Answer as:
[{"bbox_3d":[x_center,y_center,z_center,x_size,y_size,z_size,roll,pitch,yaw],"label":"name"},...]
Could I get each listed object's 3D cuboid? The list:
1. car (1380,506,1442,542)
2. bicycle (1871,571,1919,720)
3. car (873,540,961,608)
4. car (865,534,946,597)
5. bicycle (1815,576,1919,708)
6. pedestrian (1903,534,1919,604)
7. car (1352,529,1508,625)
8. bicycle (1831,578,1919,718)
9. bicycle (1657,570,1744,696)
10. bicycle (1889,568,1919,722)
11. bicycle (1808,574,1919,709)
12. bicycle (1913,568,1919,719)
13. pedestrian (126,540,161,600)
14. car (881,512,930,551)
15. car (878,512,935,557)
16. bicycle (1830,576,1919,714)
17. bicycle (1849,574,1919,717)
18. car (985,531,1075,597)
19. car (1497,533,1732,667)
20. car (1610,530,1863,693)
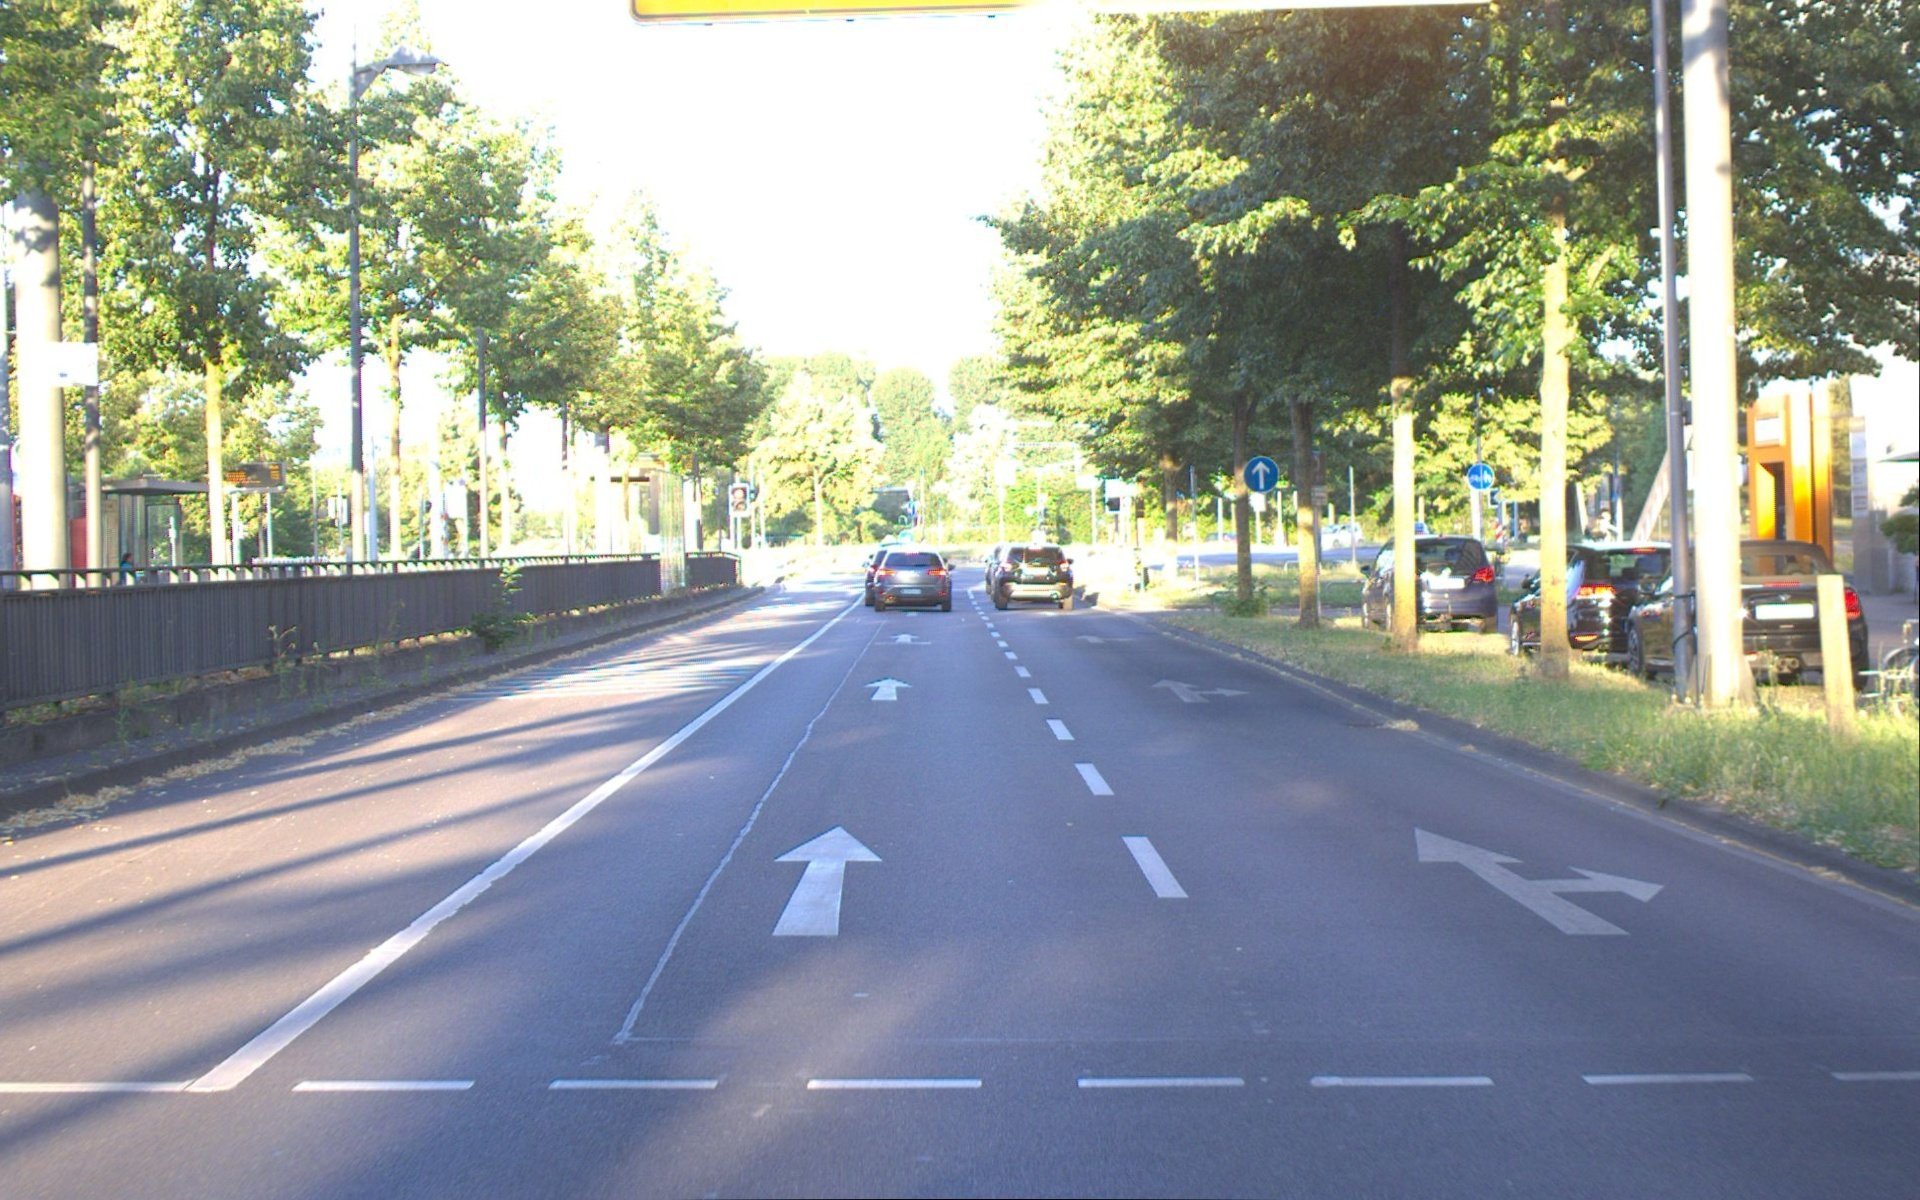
[{"bbox_3d":[22.283,-3.753,169.747,1.996,1.722,3.995,-1,1,24],"label":"car"},{"bbox_3d":[7.206,0.338,22.926,2.142,0.970,0.443,2,1,-8],"label":"bicycle"},{"bbox_3d":[-0.989,-0.613,78.162,1.911,1.481,4.000,-1,1,-1],"label":"car"},{"bbox_3d":[-1.354,-0.867,84.636,1.911,1.481,4.000,-1,1,-1],"label":"car"},{"bbox_3d":[7.497,0.338,25.505,2.142,0.936,0.545,2,1,-7],"label":"bicycle"},{"bbox_3d":[16.527,-0.544,58.764,0.571,1.182,0.861,-1,1,1],"label":"pedestrian"},{"bbox_3d":[7.582,-0.397,55.754,1.756,1.461,4.159,-1,1,-3],"label":"car"},{"bbox_3d":[7.187,0.361,23.887,2.142,0.936,0.452,2,1,-7],"label":"bicycle"},{"bbox_3d":[6.030,0.252,28.045,0.319,0.977,1.846,-1,1,1],"label":"bicycle"},{"bbox_3d":[7.203,0.329,22.443,2.142,0.983,0.443,2,1,-7],"label":"bicycle"},{"bbox_3d":[7.292,0.328,24.979,2.142,0.936,0.443,2,1,-7],"label":"bicycle"},{"bbox_3d":[7.220,0.278,22.036,2.142,1.050,0.300,2,1,-7],"label":"bicycle"},{"bbox_3d":[-18.101,-0.671,76.244,0.614,1.315,0.745,-1,1,-4],"label":"pedestrian"},{"bbox_3d":[-2.168,-2.718,136.103,1.911,1.481,4.000,-1,1,-1],"label":"car"},{"bbox_3d":[-1.859,-2.276,119.257,1.911,1.481,4.000,-1,1,-1],"label":"car"},{"bbox_3d":[7.281,0.345,24.290,2.142,0.936,0.443,2,1,-7],"label":"bicycle"},{"bbox_3d":[7.184,0.340,23.400,2.142,0.936,0.443,2,1,-7],"label":"bicycle"},{"bbox_3d":[1.616,-0.861,80.658,1.911,1.481,4.000,-1,1,-1],"label":"car"},{"bbox_3d":[7.620,-0.037,40.409,1.777,1.467,4.289,-1,1,-2],"label":"car"},{"bbox_3d":[7.496,0.067,33.507,1.575,1.467,3.881,-1,1,0],"label":"car"}]
